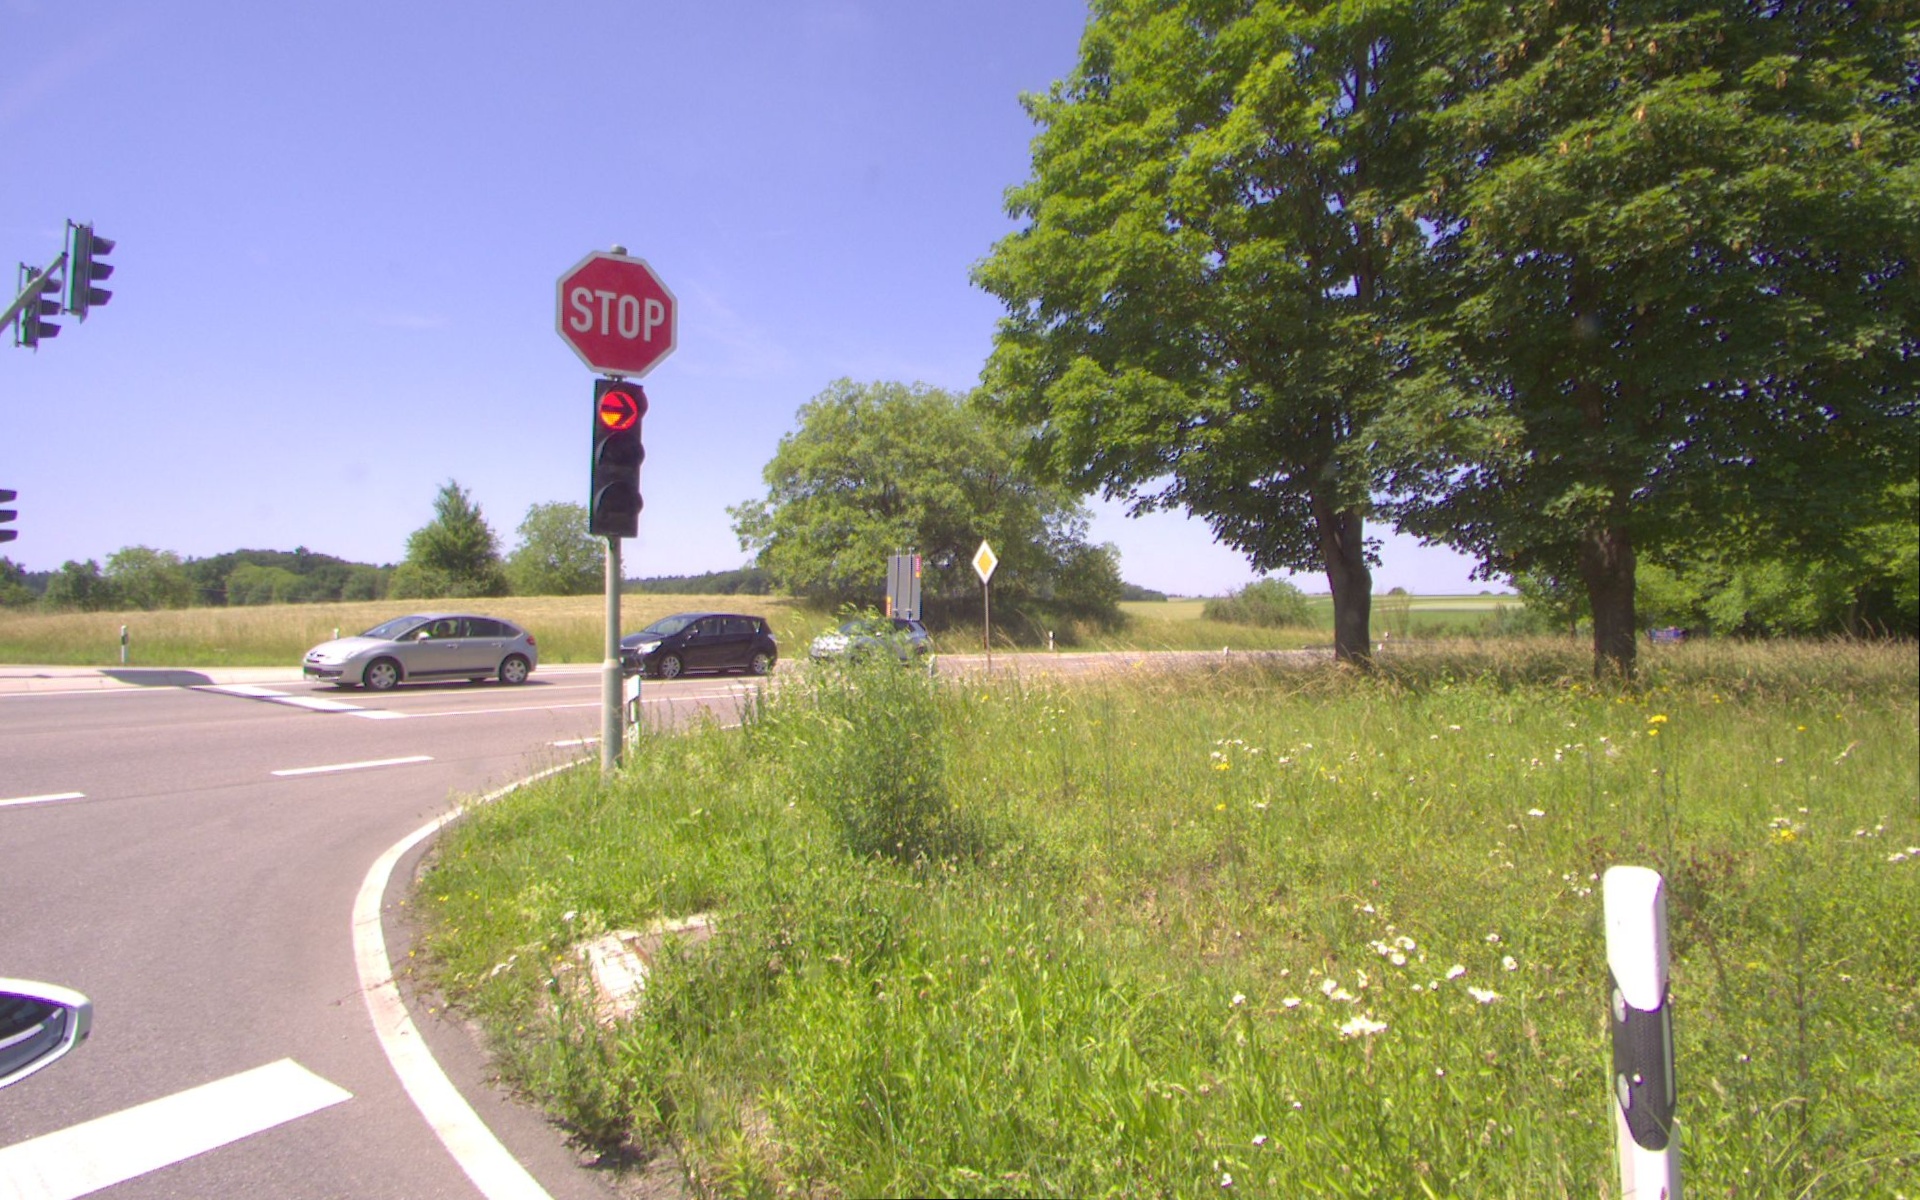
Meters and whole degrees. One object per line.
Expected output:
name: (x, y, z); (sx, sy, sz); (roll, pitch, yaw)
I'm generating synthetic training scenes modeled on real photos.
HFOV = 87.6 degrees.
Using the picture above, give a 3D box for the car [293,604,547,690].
car: (-10.713, 0.898, 20.122); (1.707, 1.489, 4.144); (2, 0, 37)

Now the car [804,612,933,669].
car: (-2.782, 1.243, 31.098); (1.635, 1.573, 3.991); (2, 0, 40)

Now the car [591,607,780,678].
car: (-6.758, 1.045, 25.066); (1.708, 1.573, 4.350); (2, 0, 40)

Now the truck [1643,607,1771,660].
truck: (63.646, 2.844, 85.024); (16.582, 4.185, 2.835); (2, 0, -32)
